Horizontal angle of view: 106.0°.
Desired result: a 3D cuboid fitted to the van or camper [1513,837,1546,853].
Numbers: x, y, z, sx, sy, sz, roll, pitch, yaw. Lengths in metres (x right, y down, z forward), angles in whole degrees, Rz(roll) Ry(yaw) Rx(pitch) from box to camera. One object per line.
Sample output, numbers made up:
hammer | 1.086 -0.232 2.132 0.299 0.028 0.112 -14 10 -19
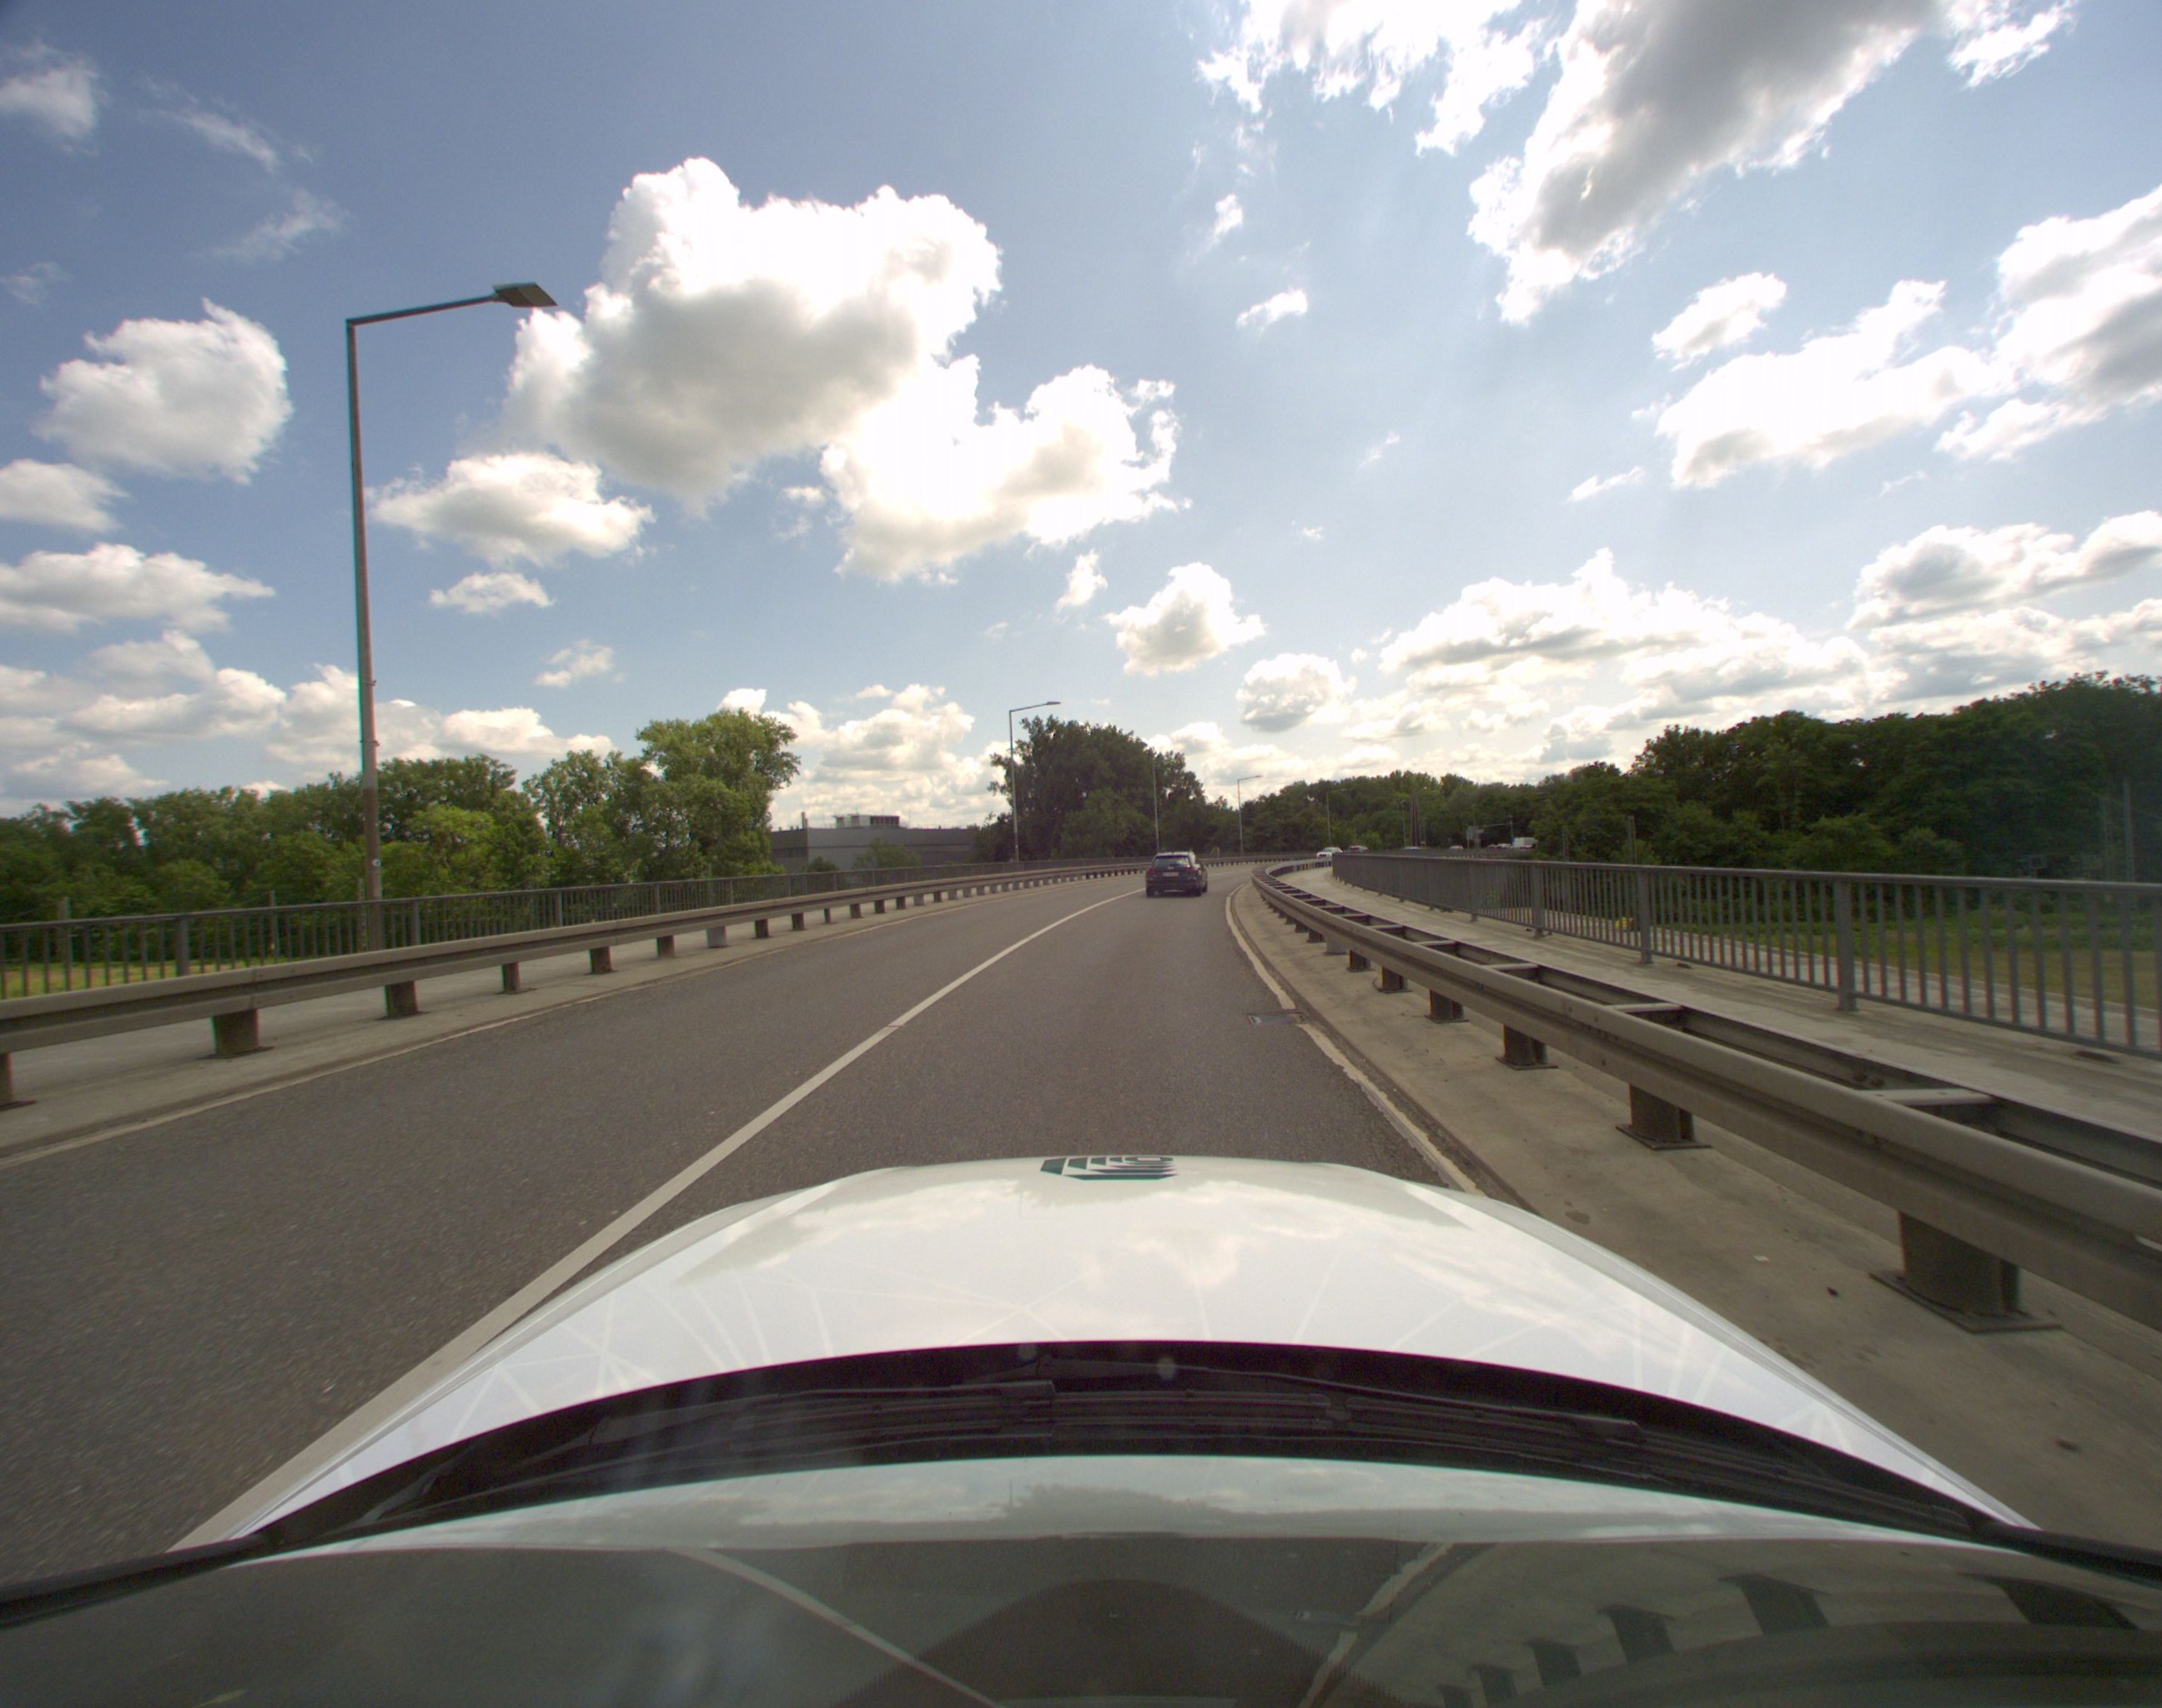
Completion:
van or camper | 68.167 -1.411 123.788 5.259 2.340 2.257 -1 1 -33

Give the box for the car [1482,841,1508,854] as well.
car | 56.568 -0.873 111.259 3.874 1.651 1.720 -1 0 -37

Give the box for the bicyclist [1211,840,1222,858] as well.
bicyclist | 12.322 -0.489 74.190 0.760 1.602 0.952 -2 -1 20

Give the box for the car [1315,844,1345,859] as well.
car | 26.807 -0.236 87.663 1.789 1.535 4.377 -1 0 36

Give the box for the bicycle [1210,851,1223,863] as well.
bicycle | 12.312 0.264 74.101 0.762 1.095 2.126 -2 0 21

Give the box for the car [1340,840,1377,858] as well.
car | 27.398 -0.520 80.488 3.877 1.651 1.805 -1 1 -42

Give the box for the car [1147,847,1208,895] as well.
car | 3.316 0.560 27.412 1.817 1.492 4.218 -1 -1 10
